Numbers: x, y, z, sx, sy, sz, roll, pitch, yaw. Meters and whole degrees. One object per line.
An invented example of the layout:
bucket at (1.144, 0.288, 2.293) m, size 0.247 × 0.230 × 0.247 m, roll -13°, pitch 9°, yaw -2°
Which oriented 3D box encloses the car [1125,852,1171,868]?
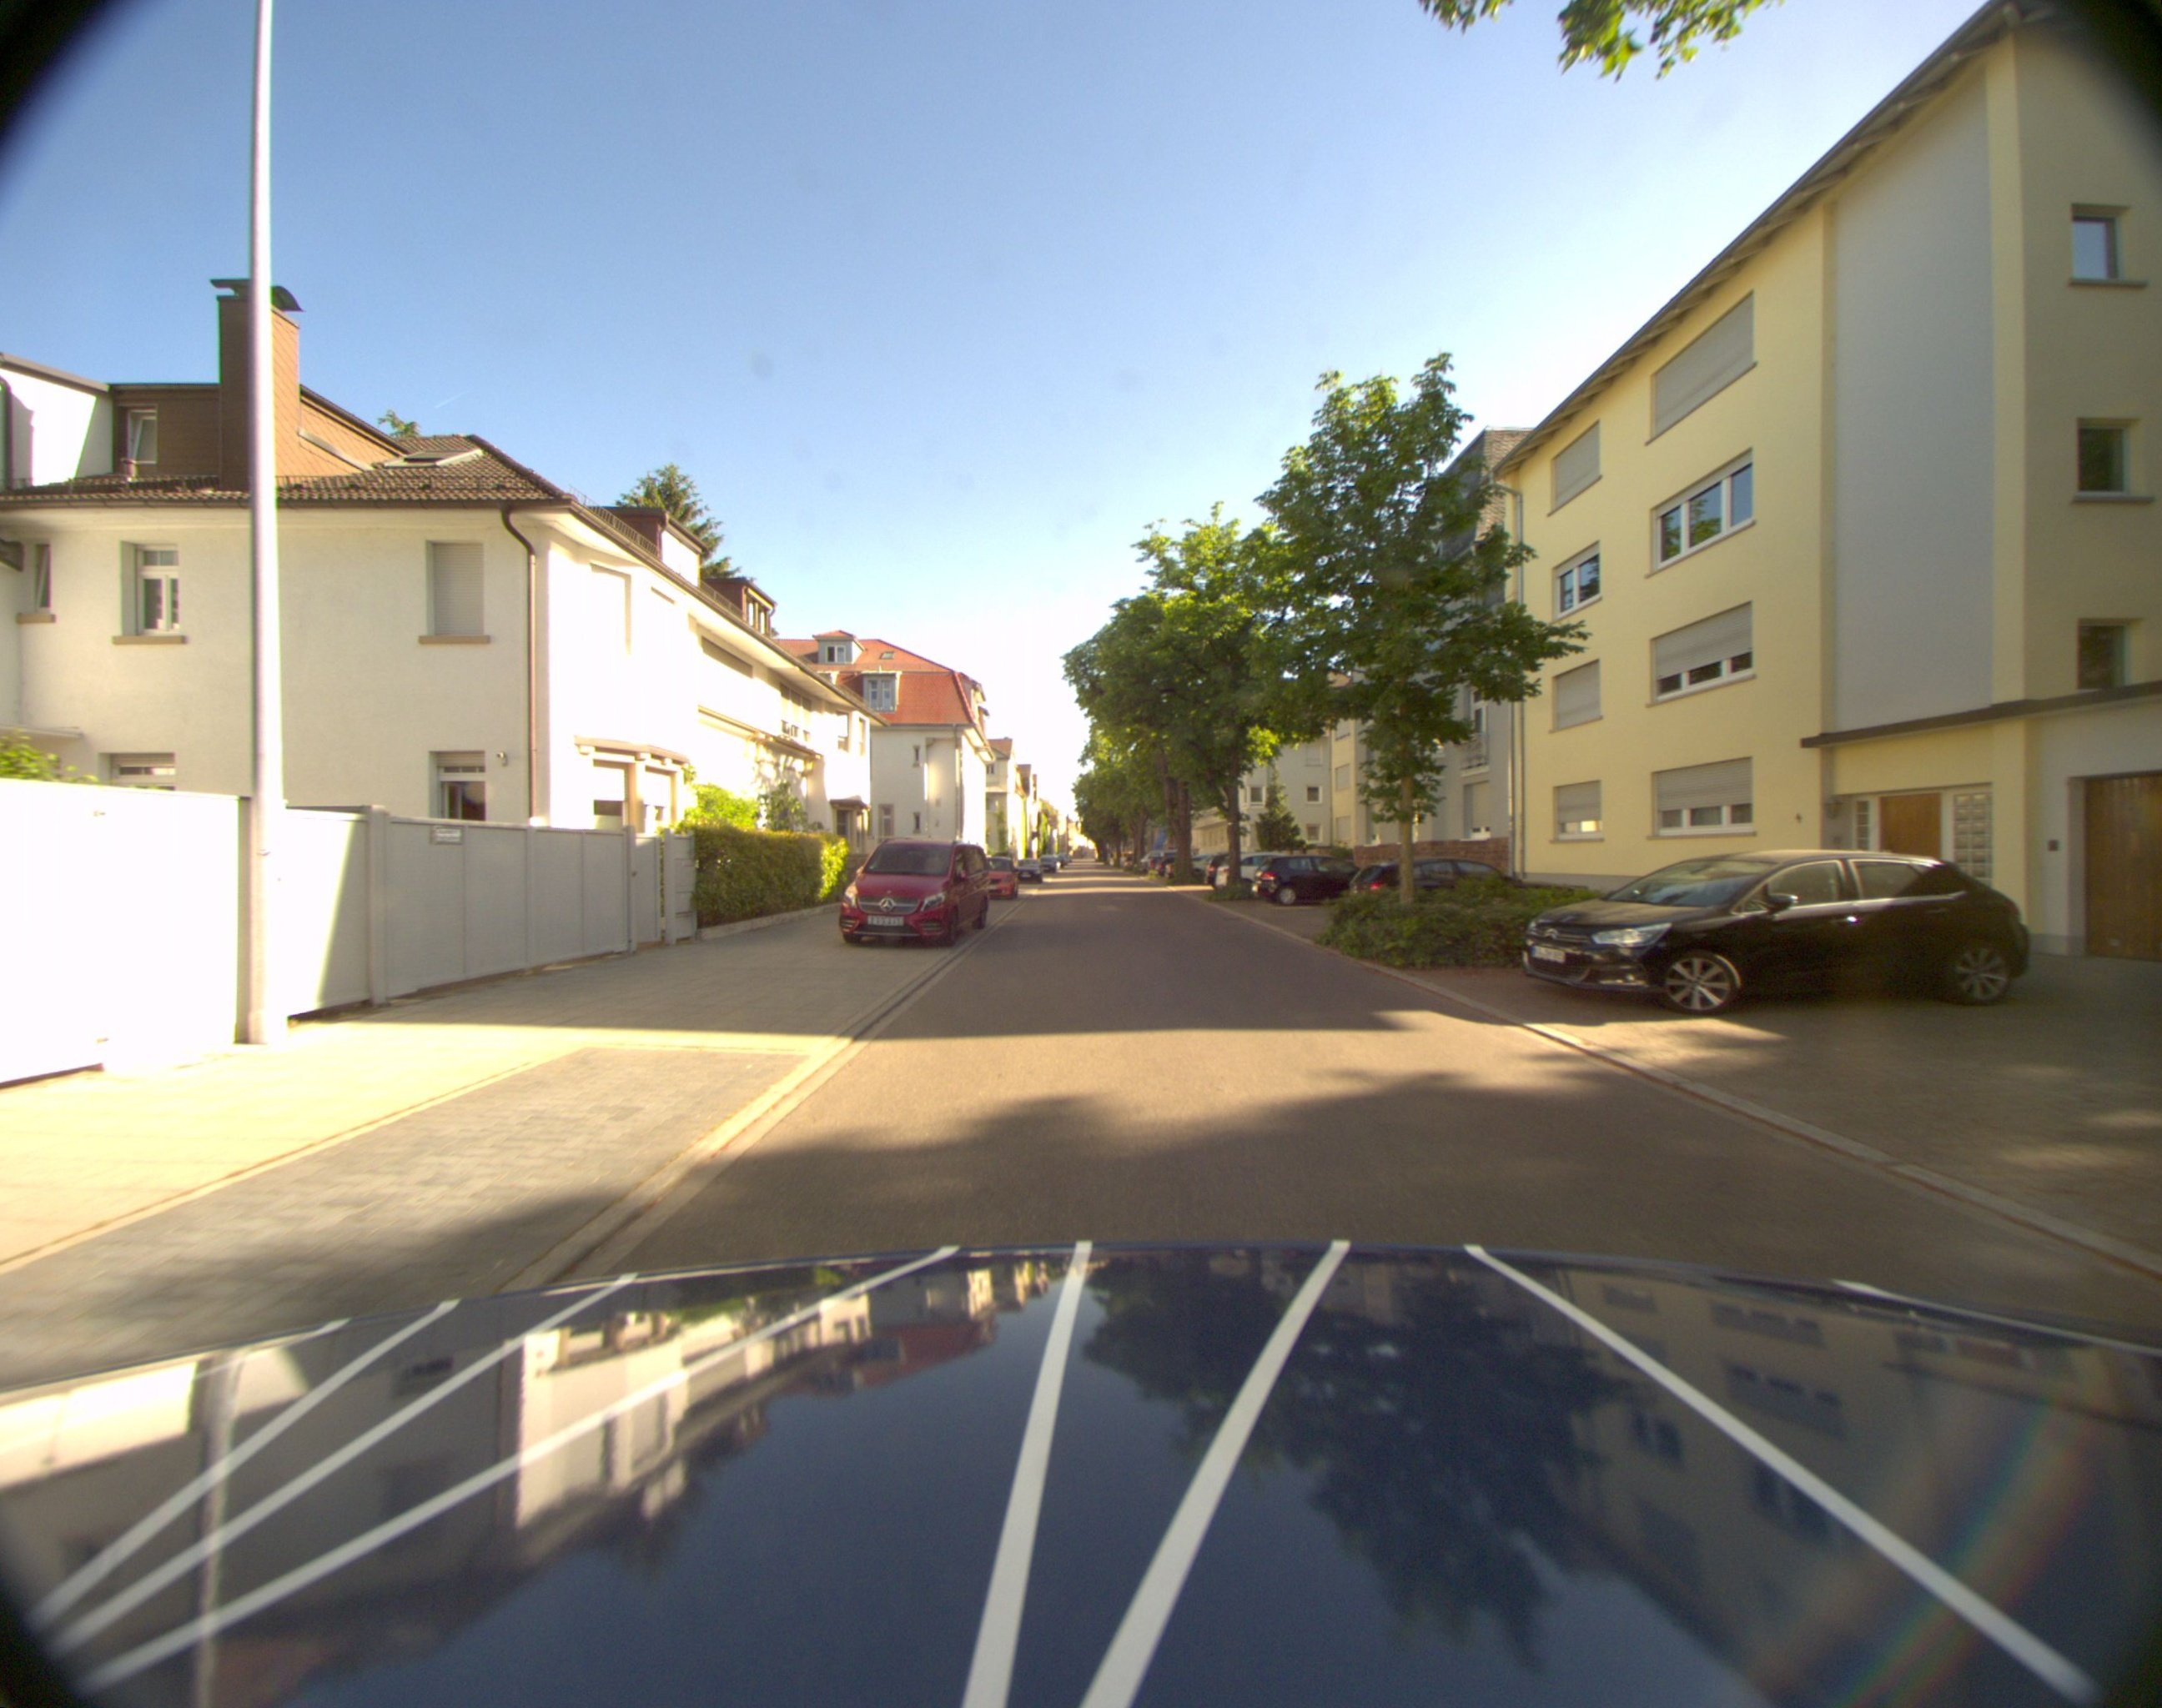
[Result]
car at (7.012, 0.628, 79.462) m, size 4.602 × 1.598 × 1.832 m, roll -1°, pitch 0°, yaw -3°

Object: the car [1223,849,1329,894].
car at (7.503, 0.651, 29.412) m, size 3.525 × 1.566 × 1.770 m, roll -2°, pitch 0°, yaw -5°

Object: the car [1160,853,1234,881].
car at (6.685, 0.720, 44.093) m, size 3.998 × 1.583 × 1.878 m, roll 0°, pitch 0°, yaw -2°

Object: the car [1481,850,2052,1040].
car at (6.765, 0.812, 7.865) m, size 4.184 × 1.492 × 1.999 m, roll -3°, pitch 1°, yaw -2°

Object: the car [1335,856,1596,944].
car at (7.131, 0.832, 14.379) m, size 3.997 × 1.413 × 1.771 m, roll -2°, pitch -1°, yaw -1°

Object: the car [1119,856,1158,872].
car at (6.321, 1.125, 83.216) m, size 3.883 × 1.505 × 1.831 m, roll -3°, pitch 1°, yaw -9°

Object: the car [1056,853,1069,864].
car at (-2.807, 0.736, 117.565) m, size 1.872 × 1.635 × 4.199 m, roll 0°, pitch 0°, yaw 0°

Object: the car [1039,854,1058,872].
car at (-2.989, 0.764, 69.981) m, size 1.667 × 1.511 × 3.999 m, roll 1°, pitch 1°, yaw -3°

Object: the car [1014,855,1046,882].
car at (-2.911, 0.798, 43.974) m, size 1.624 × 1.431 × 3.934 m, roll 2°, pitch 0°, yaw -2°

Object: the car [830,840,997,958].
car at (-3.014, 0.695, 14.907) m, size 1.876 × 1.894 × 5.198 m, roll 1°, pitch 1°, yaw 3°

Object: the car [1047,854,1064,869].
car at (-2.744, 0.749, 82.059) m, size 1.713 × 1.428 × 4.192 m, roll 2°, pitch 1°, yaw 0°

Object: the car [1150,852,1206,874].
car at (7.170, 0.656, 56.560) m, size 3.955 × 1.490 × 1.662 m, roll -2°, pitch 0°, yaw 2°

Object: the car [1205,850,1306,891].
car at (7.306, 0.667, 32.107) m, size 3.872 × 1.566 × 1.848 m, roll -2°, pitch 0°, yaw 3°

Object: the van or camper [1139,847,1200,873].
van or camper at (6.868, 0.461, 59.230) m, size 4.508 × 1.903 × 1.964 m, roll -1°, pitch 1°, yaw 0°

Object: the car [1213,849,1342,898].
car at (6.867, 0.670, 26.846) m, size 4.033 × 1.476 × 1.806 m, roll -2°, pitch 0°, yaw 0°

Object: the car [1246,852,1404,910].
car at (7.080, 0.775, 22.347) m, size 4.032 × 1.436 × 1.800 m, roll -2°, pitch 1°, yaw 2°

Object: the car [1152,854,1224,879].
car at (6.602, 0.764, 47.163) m, size 4.198 × 1.490 × 1.861 m, roll 0°, pitch 0°, yaw -1°

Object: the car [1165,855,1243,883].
car at (6.623, 0.786, 41.177) m, size 3.997 × 1.460 × 1.697 m, roll 0°, pitch 0°, yaw 0°

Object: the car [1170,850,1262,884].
car at (6.813, 0.654, 38.782) m, size 4.397 × 1.642 × 1.823 m, roll -1°, pitch 0°, yaw 1°

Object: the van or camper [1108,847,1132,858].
van or camper at (6.714, -0.218, 130.178) m, size 3.954 × 1.763 × 1.809 m, roll -1°, pitch -1°, yaw -1°

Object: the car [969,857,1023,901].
car at (-3.057, 0.882, 27.973) m, size 1.596 × 1.472 × 3.247 m, roll 2°, pitch 0°, yaw 0°
